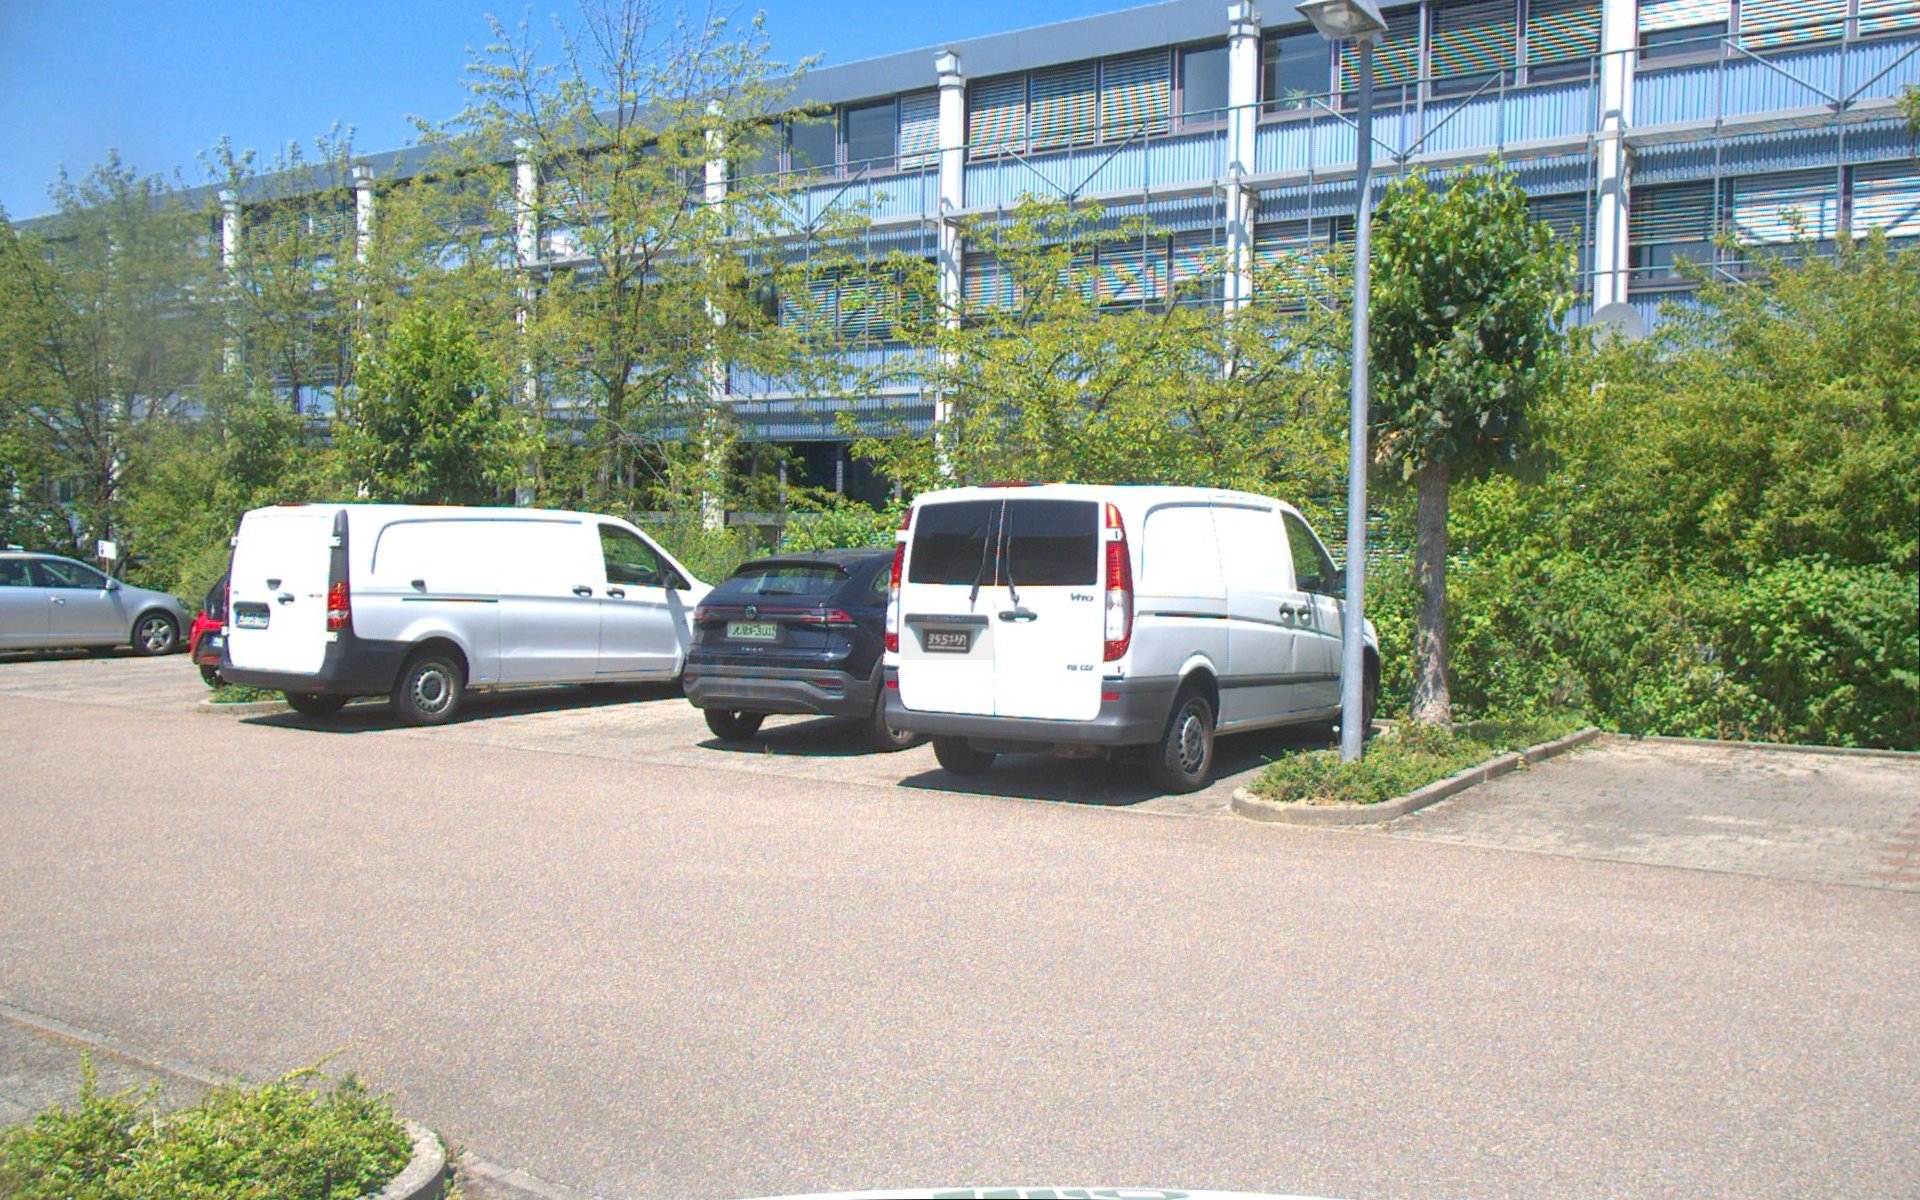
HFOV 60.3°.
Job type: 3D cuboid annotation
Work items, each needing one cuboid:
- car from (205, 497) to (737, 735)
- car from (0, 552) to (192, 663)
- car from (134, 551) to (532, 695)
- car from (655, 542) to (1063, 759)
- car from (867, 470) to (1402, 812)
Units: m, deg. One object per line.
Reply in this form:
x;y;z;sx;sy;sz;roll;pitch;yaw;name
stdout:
-4.463;0.031;15.870;1.850;1.924;4.786;1;3;35;car
-12.986;0.072;22.621;1.837;1.430;4.154;2;3;37;car
-7.072;0.175;19.012;1.753;1.466;3.984;1;2;36;car
-0.665;0.290;13.861;1.719;1.502;3.998;0;2;25;car
1.502;0.144;11.904;1.879;1.938;4.795;1;2;33;car
